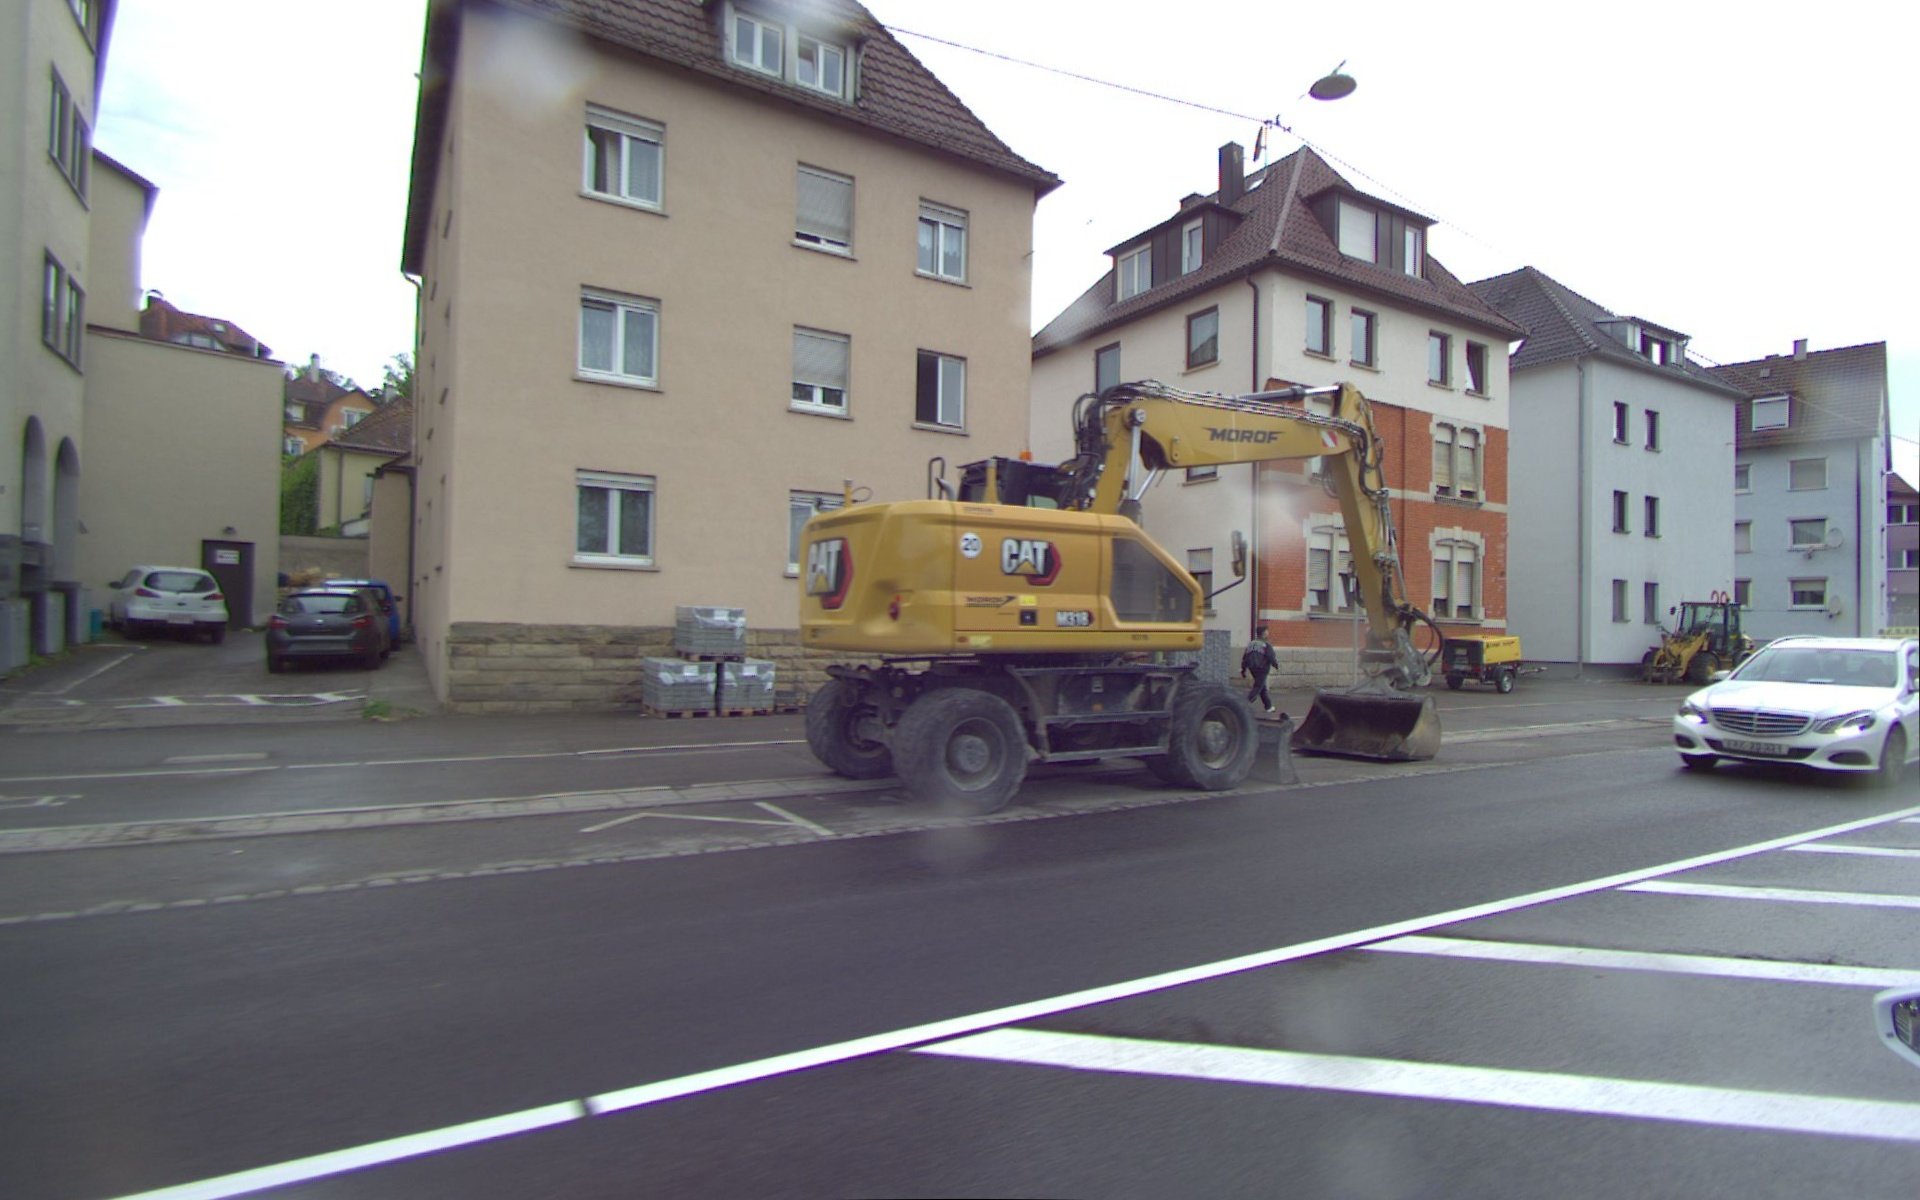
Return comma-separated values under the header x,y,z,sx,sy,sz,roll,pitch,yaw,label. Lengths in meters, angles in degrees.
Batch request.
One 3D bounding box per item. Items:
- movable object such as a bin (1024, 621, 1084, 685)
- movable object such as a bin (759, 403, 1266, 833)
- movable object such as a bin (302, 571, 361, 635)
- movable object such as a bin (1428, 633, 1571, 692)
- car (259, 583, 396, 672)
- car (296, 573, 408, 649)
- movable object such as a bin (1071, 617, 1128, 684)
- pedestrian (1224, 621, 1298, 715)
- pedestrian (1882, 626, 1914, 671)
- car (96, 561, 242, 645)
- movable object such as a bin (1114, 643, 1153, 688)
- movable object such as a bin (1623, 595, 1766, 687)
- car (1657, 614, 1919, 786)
x,y,z,sx,sy,sz,roll,pitch,yaw,label
2.214,1.226,23.696,0.948,1.430,1.077,-1,1,-35,movable object such as a bin
0.460,0.118,9.790,4.076,3.216,2.858,-1,1,-30,movable object such as a bin
-15.713,0.066,25.171,1.174,1.528,1.936,-1,1,-30,movable object such as a bin
13.869,1.609,25.766,3.959,1.372,1.544,3,-1,-34,movable object such as a bin
-11.546,0.436,18.573,1.829,1.461,3.970,-1,1,-28,car
-13.477,0.207,22.449,1.976,1.528,3.969,-1,1,-29,car
3.123,1.109,22.452,0.948,1.430,0.847,-1,1,-35,movable object such as a bin
5.428,1.200,18.106,1.078,1.610,0.760,-1,1,-30,pedestrian
43.979,2.255,47.093,1.068,2.041,1.045,0,1,45,pedestrian
-17.623,0.045,22.325,3.941,1.694,1.885,0,1,41,car
3.757,1.404,21.790,0.569,0.910,0.629,-1,1,-35,movable object such as a bin
23.389,1.214,31.963,4.571,2.719,1.985,-1,1,-29,movable object such as a bin
10.076,1.043,11.565,4.574,1.576,1.916,3,-1,-35,car
